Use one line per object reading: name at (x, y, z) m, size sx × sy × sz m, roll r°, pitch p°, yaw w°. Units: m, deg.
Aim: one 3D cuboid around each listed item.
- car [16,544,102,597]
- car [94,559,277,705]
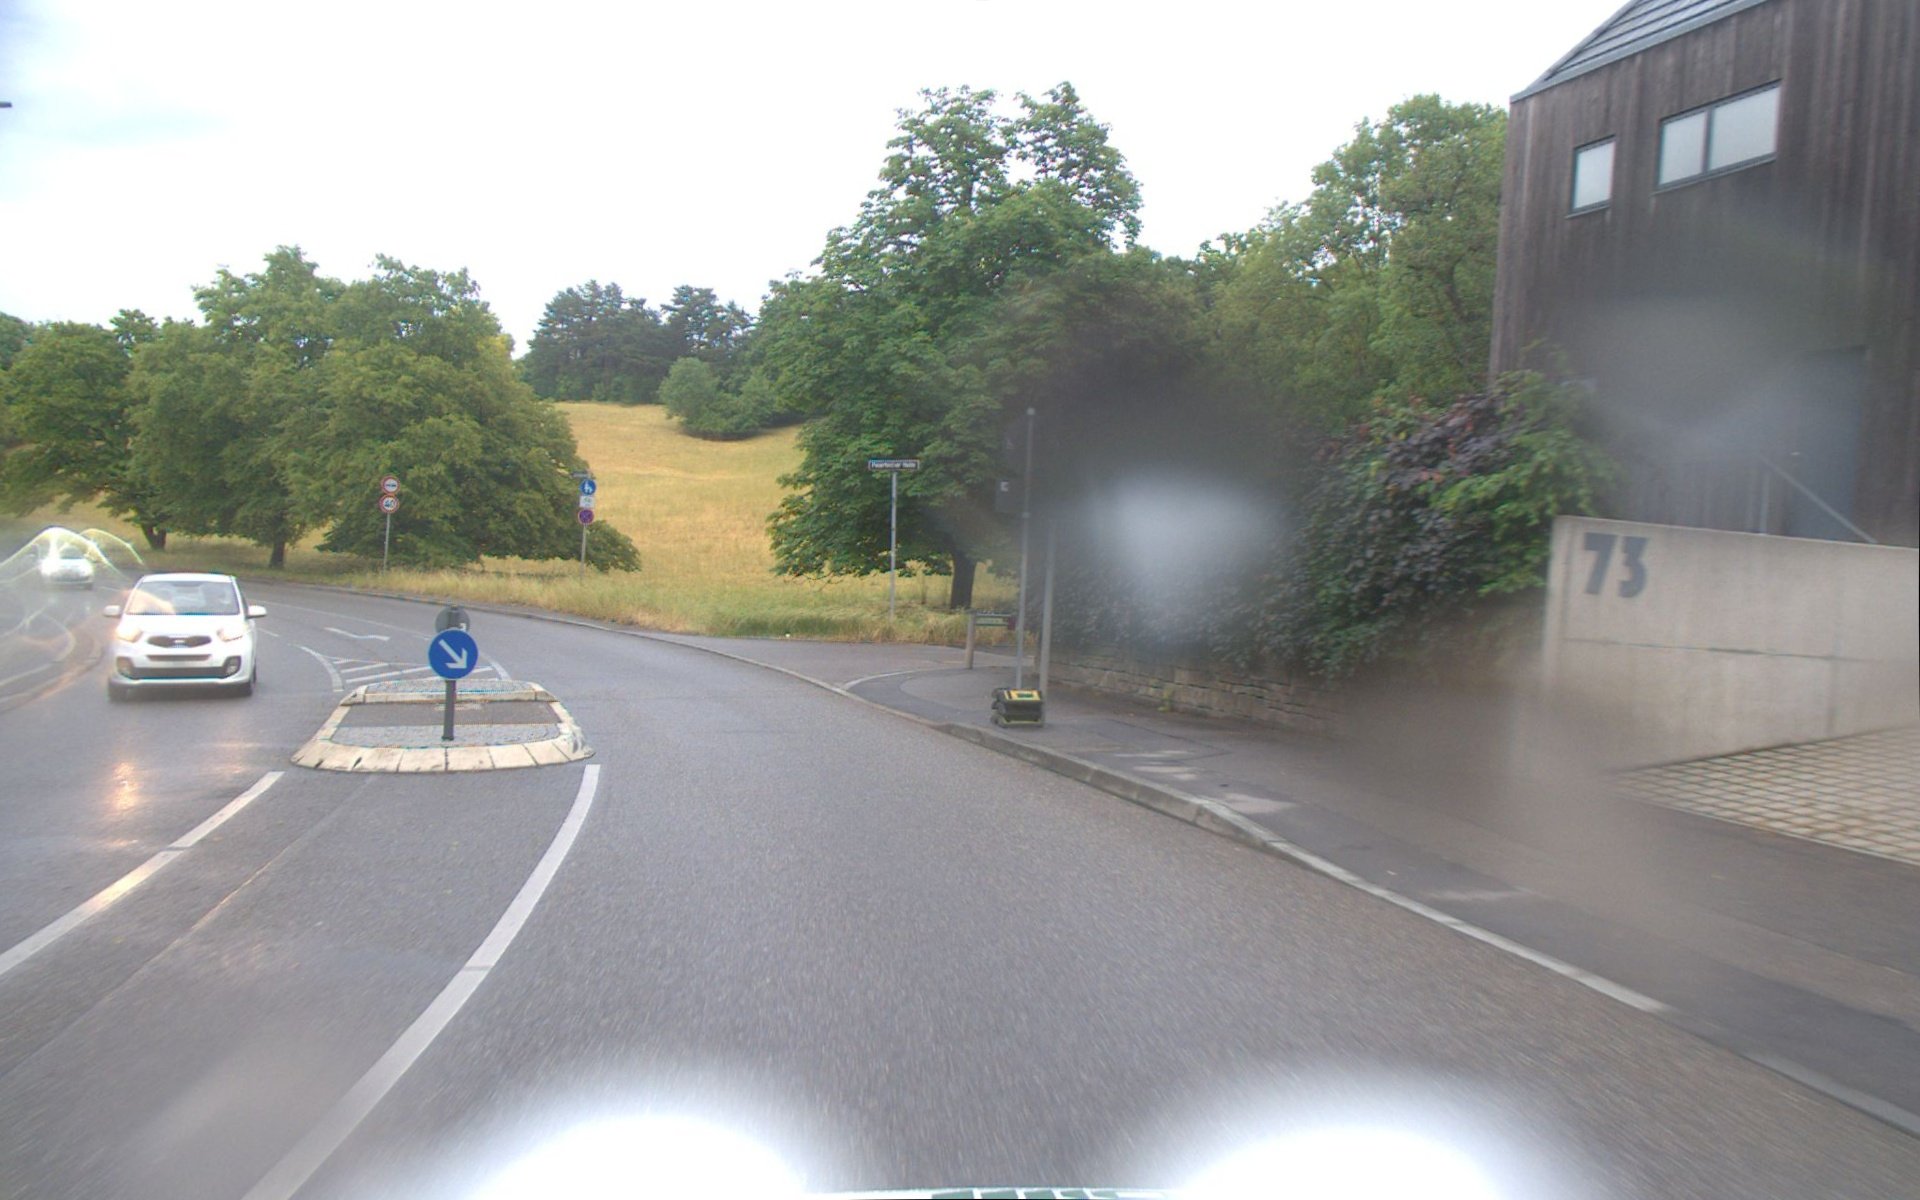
car at (-30.020, -0.994, 55.063) m, size 1.803 × 1.623 × 3.944 m, roll 0°, pitch 3°, yaw -39°
car at (-9.806, 0.319, 21.201) m, size 1.767 × 1.511 × 3.977 m, roll -1°, pitch 4°, yaw -20°
